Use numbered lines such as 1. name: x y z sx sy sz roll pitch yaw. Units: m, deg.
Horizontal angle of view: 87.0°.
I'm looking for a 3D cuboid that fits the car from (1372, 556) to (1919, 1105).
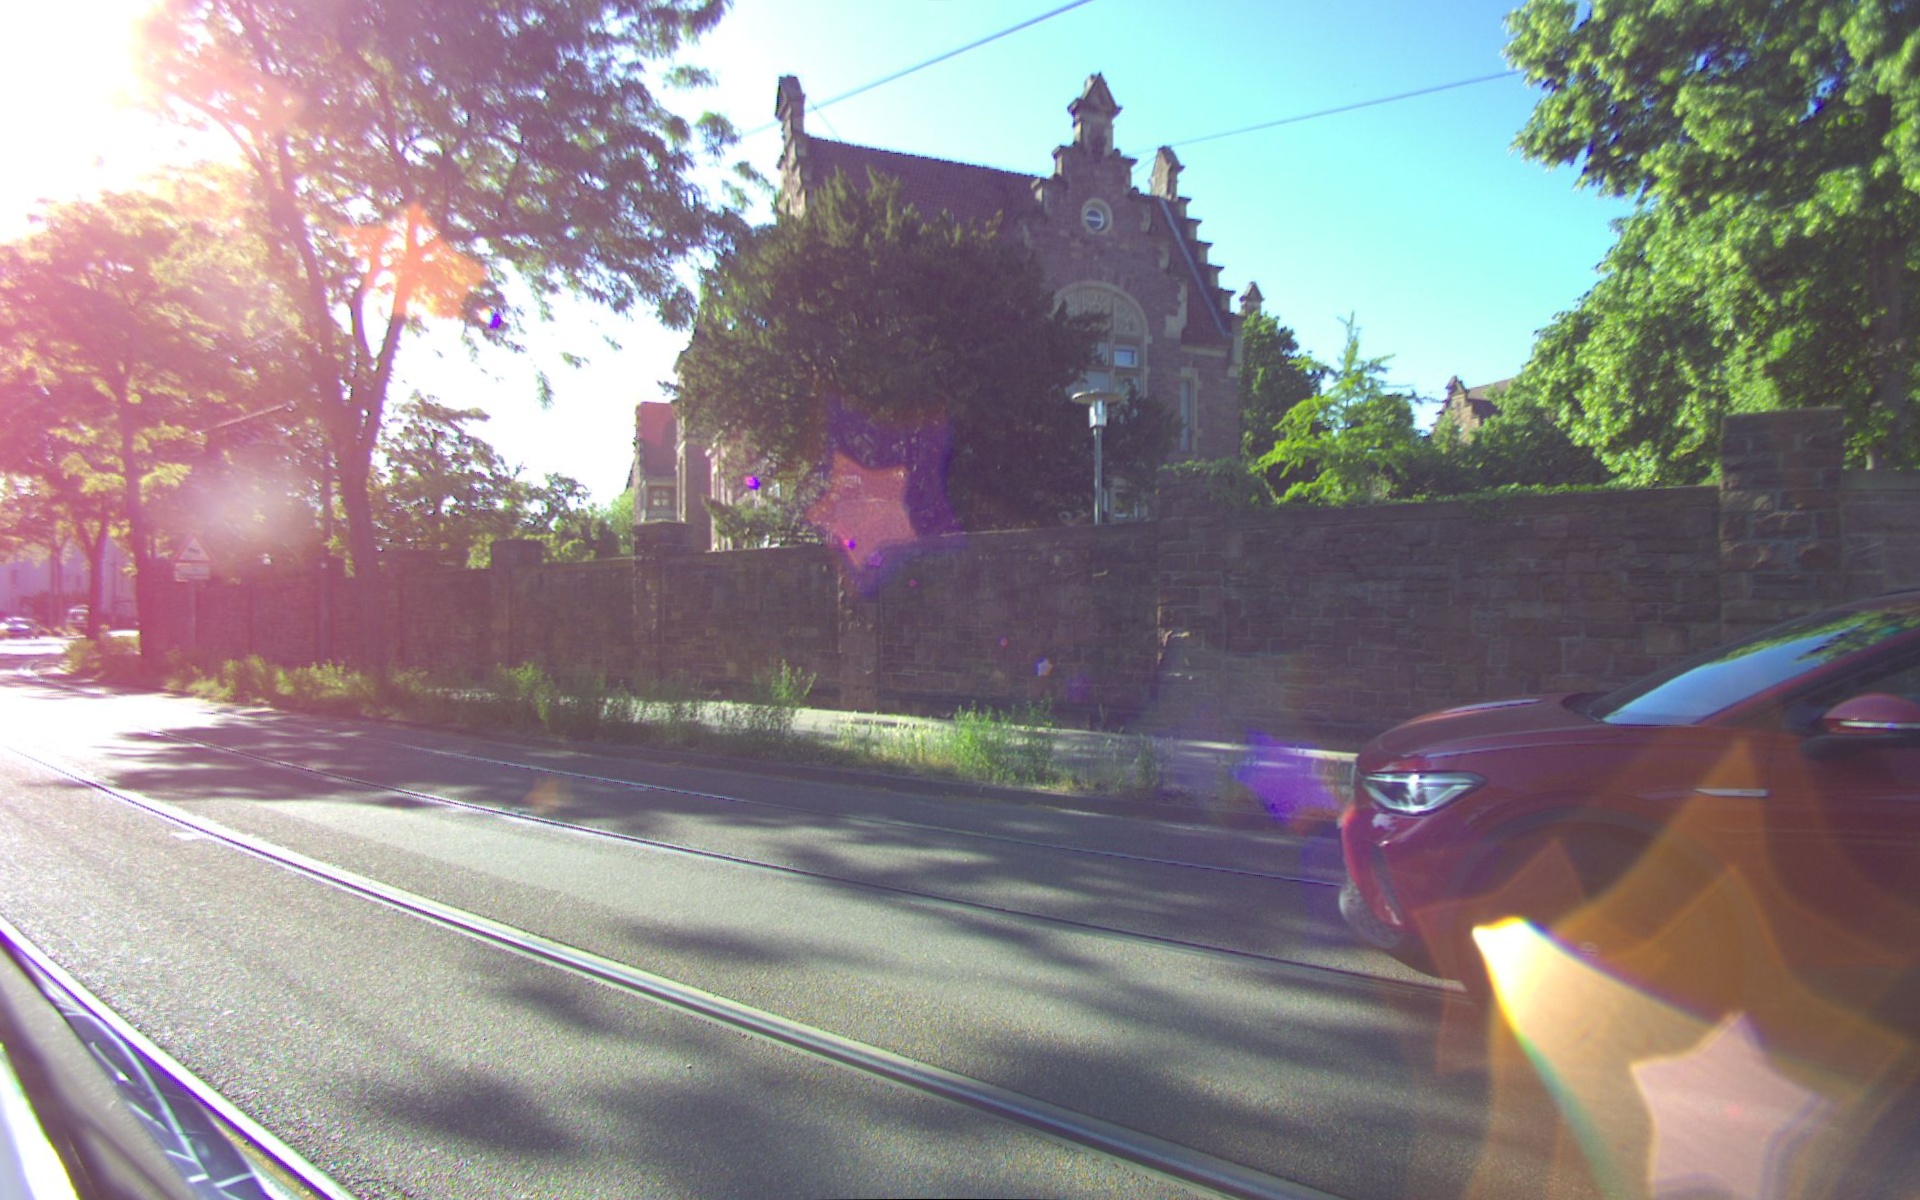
1. car: 3.807 0.675 3.559 4.330 1.619 1.810 -1 -1 23
